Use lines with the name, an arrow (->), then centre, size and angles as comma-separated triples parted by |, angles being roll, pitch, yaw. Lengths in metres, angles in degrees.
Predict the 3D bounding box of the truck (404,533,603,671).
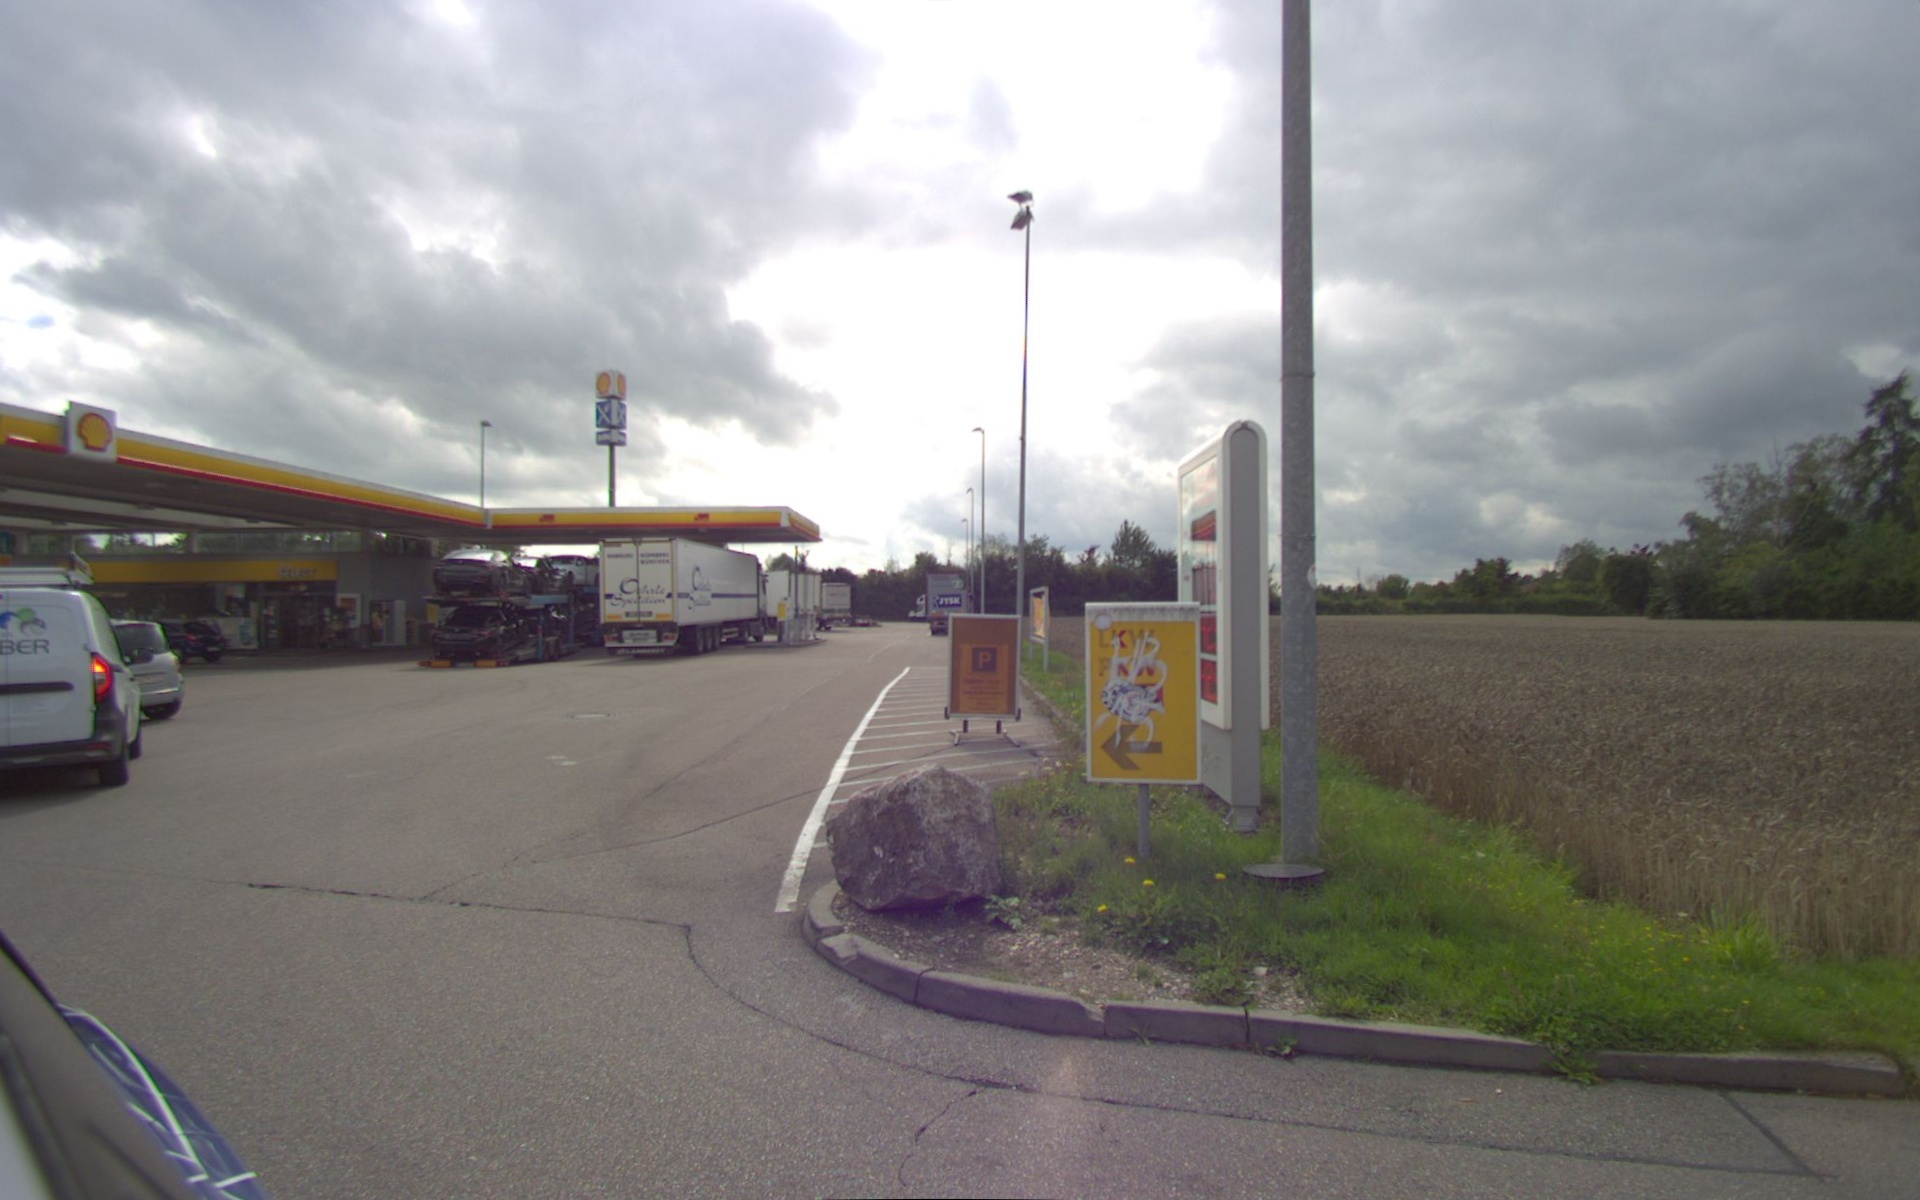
truck -> -15.484, 0.156, 35.781 | 2.709, 3.953, 13.281 | 0, -1, -8

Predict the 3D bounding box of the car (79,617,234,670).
car -> -26.483, 1.422, 33.444 | 3.704, 1.613, 1.718 | -1, -1, -5

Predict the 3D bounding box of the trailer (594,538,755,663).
trailer -> -10.614, 0.099, 39.465 | 2.674, 4.055, 12.846 | -1, -1, 0

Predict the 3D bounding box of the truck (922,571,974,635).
truck -> -0.630, 0.275, 69.898 | 2.786, 3.923, 15.449 | 0, -1, 2

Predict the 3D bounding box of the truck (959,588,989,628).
truck -> 1.561, 0.859, 106.766 | 2.786, 3.923, 12.799 | 0, -1, 2

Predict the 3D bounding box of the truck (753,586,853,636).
truck -> -13.997, 1.020, 89.082 | 2.947, 4.142, 11.592 | 0, -1, -40

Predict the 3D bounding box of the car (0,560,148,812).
car -> -8.977, 0.743, 9.653 | 1.767, 2.027, 3.889 | 0, -1, -37

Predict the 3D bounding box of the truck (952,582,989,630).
truck -> 1.083, 0.609, 90.344 | 2.786, 3.923, 15.449 | 0, -1, 2

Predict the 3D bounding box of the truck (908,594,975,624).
truck -> -2.341, 1.127, 126.515 | 7.978, 3.684, 2.812 | 0, -1, 13

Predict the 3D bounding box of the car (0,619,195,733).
car -> -13.750, 1.098, 15.021 | 3.671, 1.559, 1.578 | -1, -1, 2

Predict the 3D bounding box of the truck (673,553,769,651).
truck -> -10.669, 0.147, 45.870 | 2.674, 4.055, 7.168 | -1, -1, 0

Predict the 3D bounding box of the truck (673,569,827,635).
truck -> -14.835, 0.191, 69.978 | 2.919, 4.144, 14.758 | 1, -1, -44
